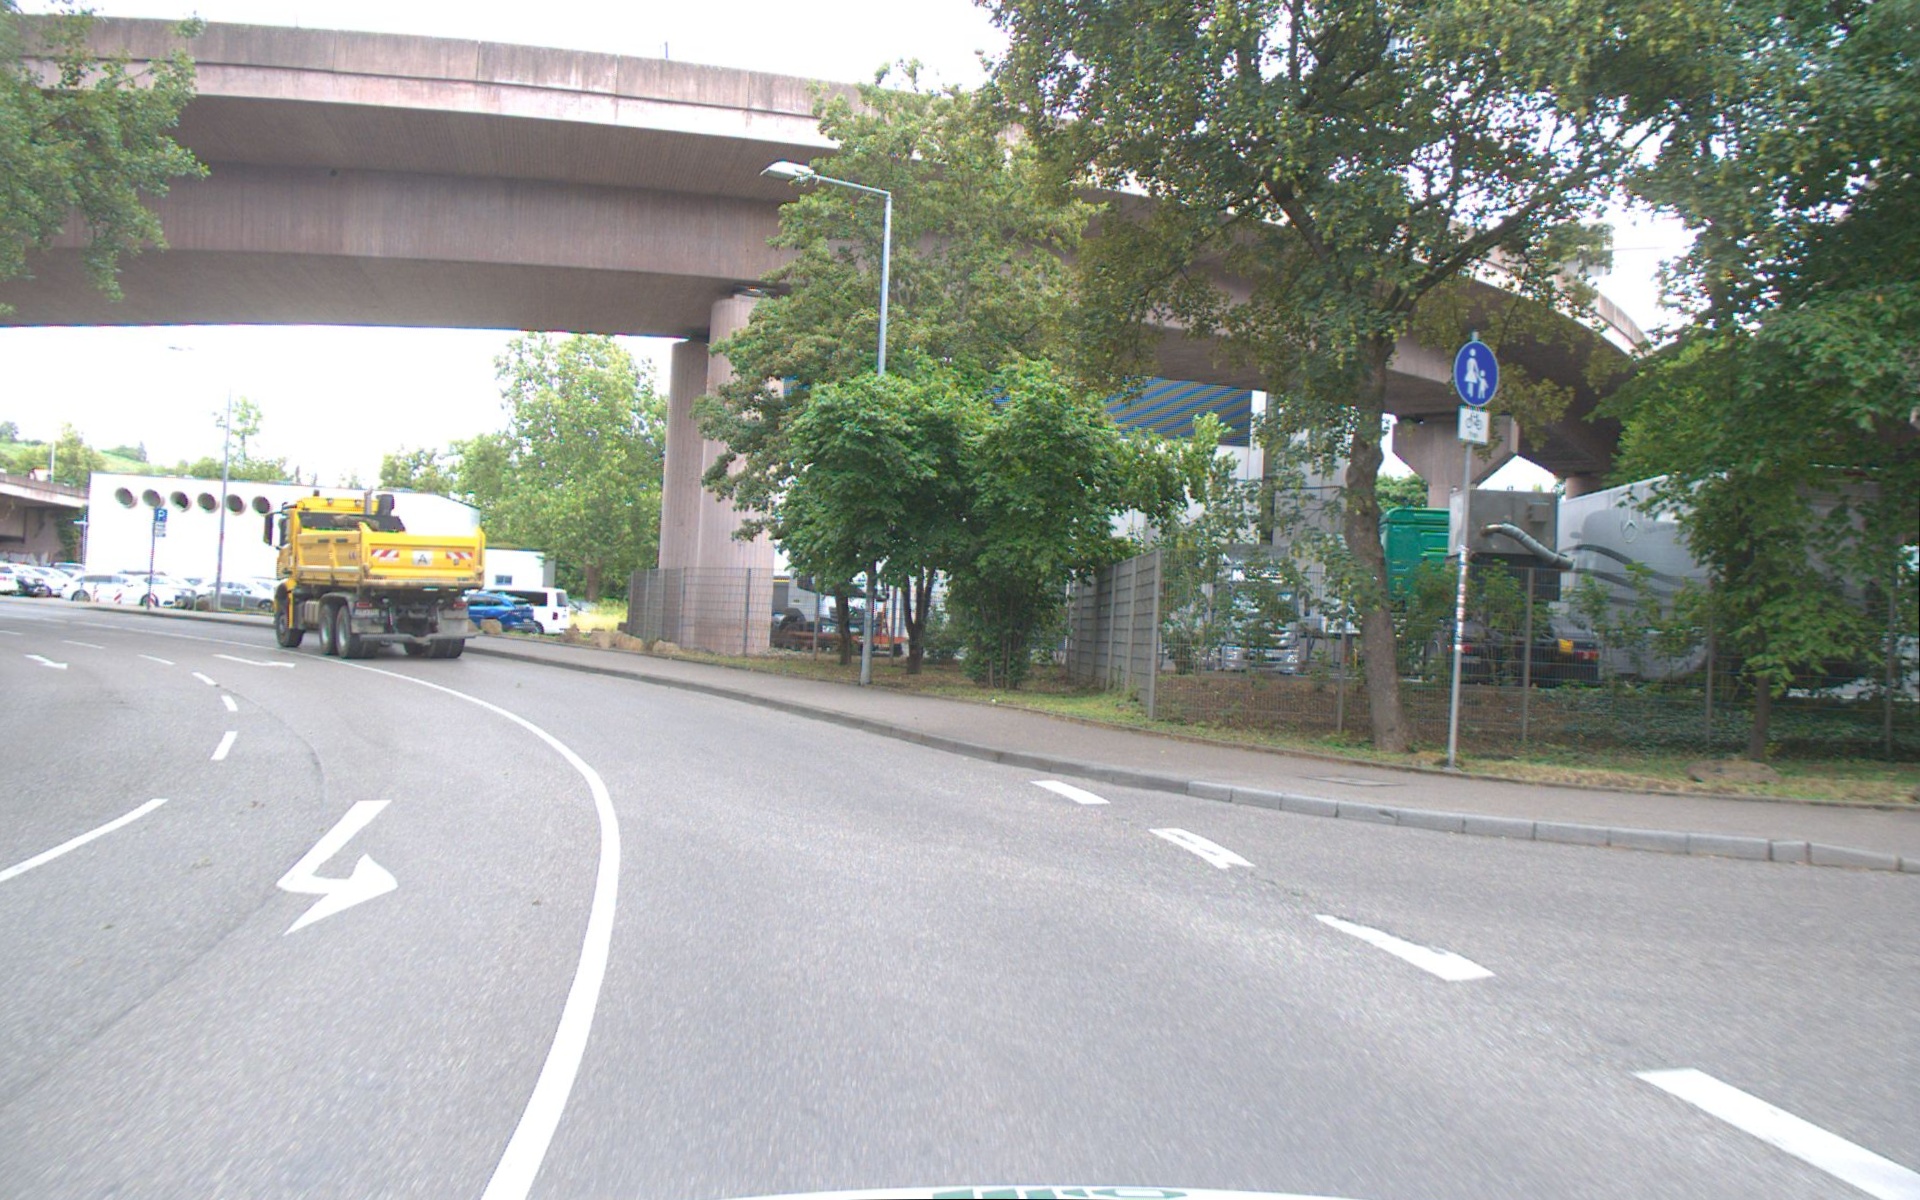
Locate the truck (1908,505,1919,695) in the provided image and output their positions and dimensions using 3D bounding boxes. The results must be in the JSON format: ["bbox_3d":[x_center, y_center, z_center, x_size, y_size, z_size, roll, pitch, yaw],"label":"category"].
[{"bbox_3d":[23.404,0.057,34.381,3.002,4.375,8.051,1,0,3],"label":"truck"}]

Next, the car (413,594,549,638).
[{"bbox_3d":[-17.393,0.592,60.094,4.350,1.467,2.001,1,-2,17],"label":"car"}]

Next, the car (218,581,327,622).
[{"bbox_3d":[-30.227,0.068,72.793,3.909,1.669,1.998,1,-2,-5],"label":"car"}]

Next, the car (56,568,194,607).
[{"bbox_3d":[-35.172,-0.522,69.743,4.724,1.467,1.998,1,-2,-3],"label":"car"}]

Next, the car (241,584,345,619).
[{"bbox_3d":[-30.527,0.093,75.754,3.907,1.467,1.998,1,-2,-3],"label":"car"}]

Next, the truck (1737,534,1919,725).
[{"bbox_3d":[16.141,0.460,27.816,2.856,2.949,6.556,1,0,-2],"label":"truck"}]

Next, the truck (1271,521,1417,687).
[{"bbox_3d":[12.208,0.089,53.338,3.136,4.863,8.051,1,0,3],"label":"truck"}]

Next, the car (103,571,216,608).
[{"bbox_3d":[-34.918,-0.449,72.229,3.907,1.467,1.998,1,-2,-3],"label":"car"}]

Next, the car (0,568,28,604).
[{"bbox_3d":[-46.788,-0.686,78.715,3.792,1.662,1.775,1,-2,-3],"label":"car"}]

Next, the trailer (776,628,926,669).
[{"bbox_3d":[-2.873,1.184,41.834,2.118,0.756,6.256,-1,1,-20],"label":"trailer"}]

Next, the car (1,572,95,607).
[{"bbox_3d":[-47.213,-0.522,85.683,3.792,1.662,1.775,1,-2,-3],"label":"car"}]

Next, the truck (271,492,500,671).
[{"bbox_3d":[-12.977,-0.404,36.841,2.901,3.542,8.148,0,0,-34],"label":"truck"}]

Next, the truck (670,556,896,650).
[{"bbox_3d":[-5.409,0.063,49.637,7.104,2.596,2.707,1,-1,43],"label":"truck"}]

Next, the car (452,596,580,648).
[{"bbox_3d":[-16.884,0.850,62.977,4.223,1.890,2.001,1,-2,7],"label":"car"}]

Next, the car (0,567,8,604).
[{"bbox_3d":[-46.339,-0.728,76.211,3.792,1.662,1.775,1,-2,-3],"label":"car"}]

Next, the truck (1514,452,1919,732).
[{"bbox_3d":[12.240,-0.147,27.599,3.004,3.935,8.045,1,0,-2],"label":"truck"}]

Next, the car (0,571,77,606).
[{"bbox_3d":[-46.862,-0.581,83.273,3.792,1.662,1.775,1,-2,-3],"label":"car"}]

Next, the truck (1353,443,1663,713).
[{"bbox_3d":[9.120,-0.366,28.501,3.003,4.032,6.923,1,0,0],"label":"truck"}]

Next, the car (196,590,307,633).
[{"bbox_3d":[-29.927,0.500,69.971,3.908,1.669,1.688,1,-2,-4],"label":"car"}]

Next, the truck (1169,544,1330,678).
[{"bbox_3d":[8.691,0.257,50.655,2.995,3.682,7.910,2,1,-4],"label":"truck"}]

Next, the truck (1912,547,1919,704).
[{"bbox_3d":[19.508,0.539,27.985,2.856,2.949,6.556,1,0,-2],"label":"truck"}]
